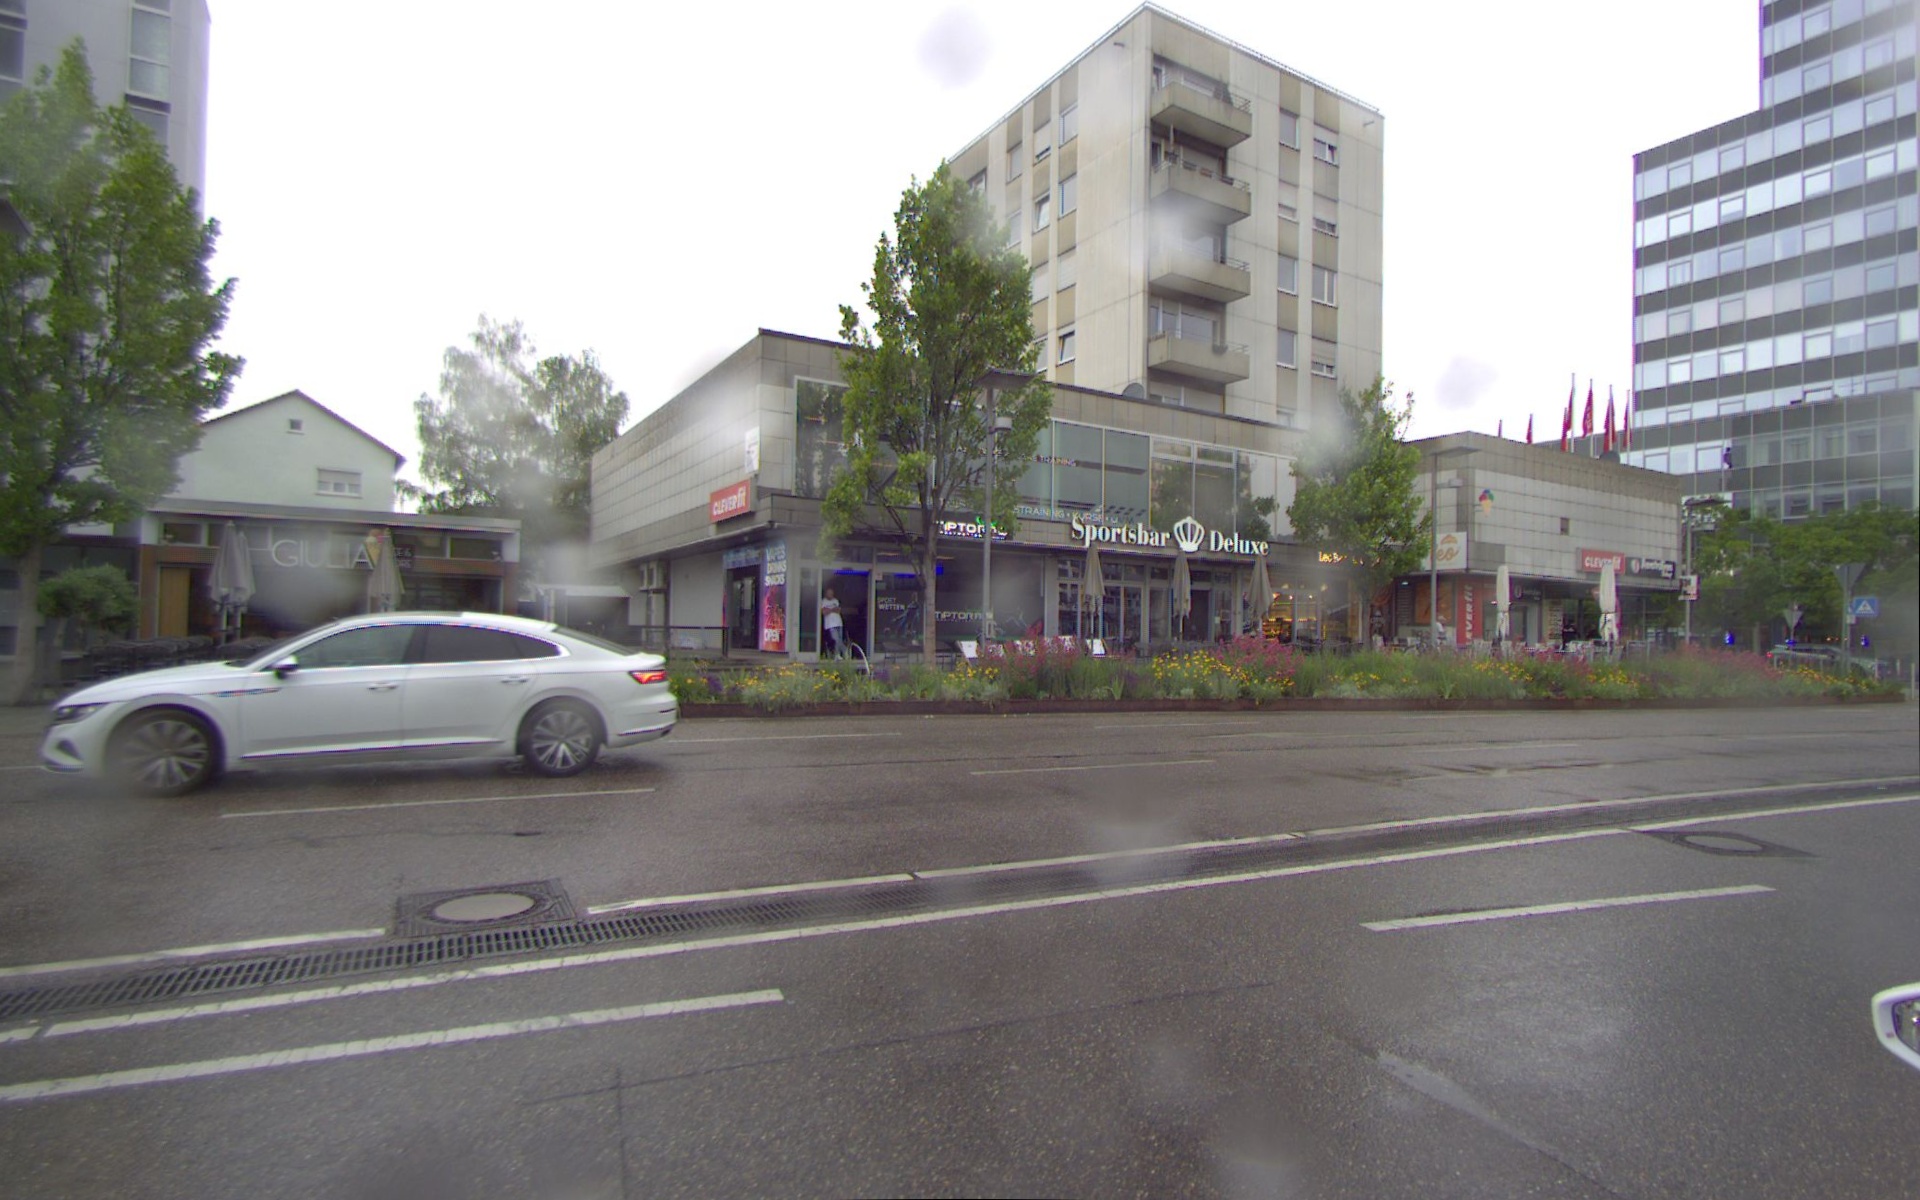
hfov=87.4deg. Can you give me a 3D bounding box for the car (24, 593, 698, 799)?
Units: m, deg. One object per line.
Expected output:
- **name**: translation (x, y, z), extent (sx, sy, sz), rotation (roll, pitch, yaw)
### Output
- **car**: translation (-4.956, 0.766, 9.090), extent (4.744, 1.480, 1.836), rotation (2, -1, -26)

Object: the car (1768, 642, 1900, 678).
- **car**: translation (38.731, 2.644, 44.614), extent (1.845, 1.439, 4.033), rotation (2, -1, -25)

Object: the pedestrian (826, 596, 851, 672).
- **pedestrian**: translation (-3.031, 0.856, 25.039), extent (0.494, 1.872, 0.425), rotation (1, -1, -21)
